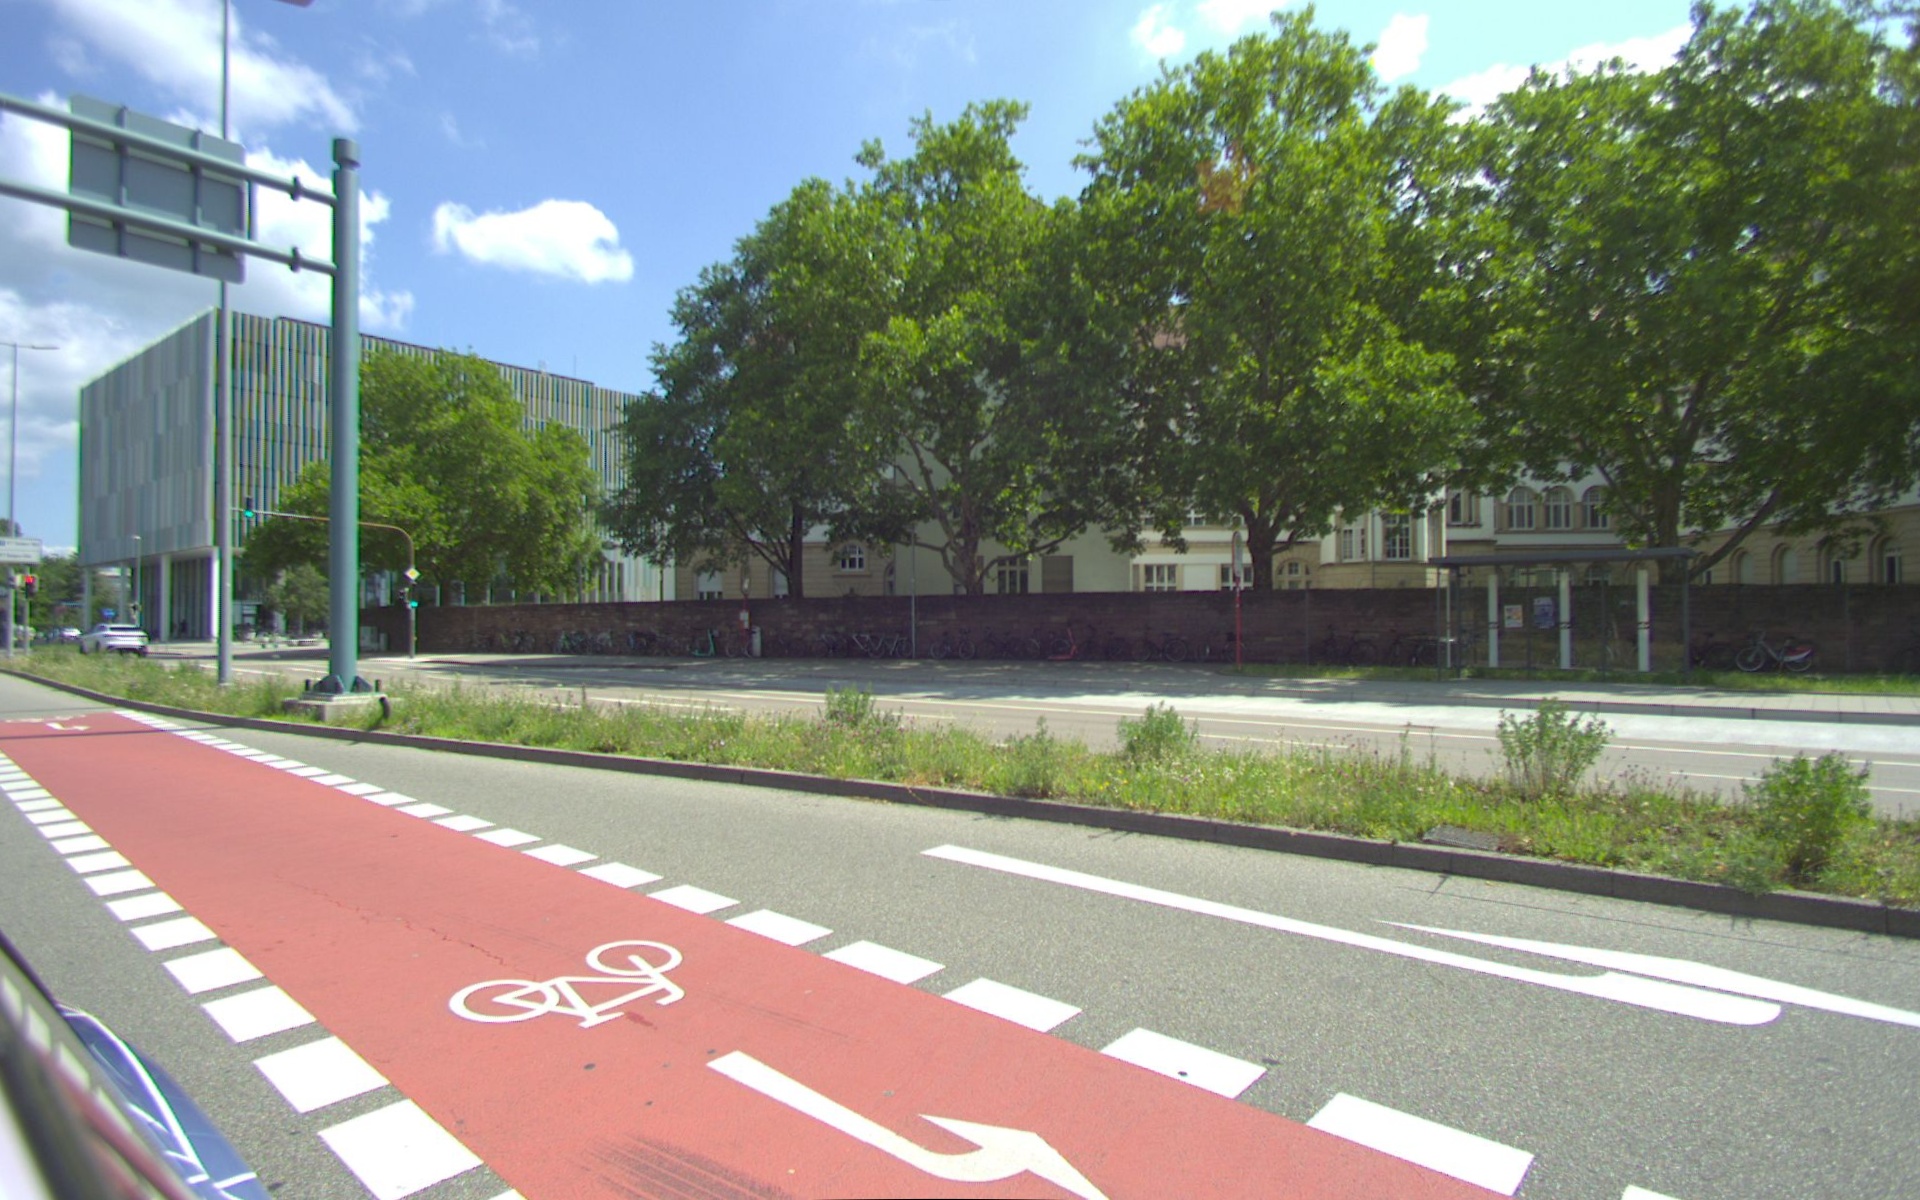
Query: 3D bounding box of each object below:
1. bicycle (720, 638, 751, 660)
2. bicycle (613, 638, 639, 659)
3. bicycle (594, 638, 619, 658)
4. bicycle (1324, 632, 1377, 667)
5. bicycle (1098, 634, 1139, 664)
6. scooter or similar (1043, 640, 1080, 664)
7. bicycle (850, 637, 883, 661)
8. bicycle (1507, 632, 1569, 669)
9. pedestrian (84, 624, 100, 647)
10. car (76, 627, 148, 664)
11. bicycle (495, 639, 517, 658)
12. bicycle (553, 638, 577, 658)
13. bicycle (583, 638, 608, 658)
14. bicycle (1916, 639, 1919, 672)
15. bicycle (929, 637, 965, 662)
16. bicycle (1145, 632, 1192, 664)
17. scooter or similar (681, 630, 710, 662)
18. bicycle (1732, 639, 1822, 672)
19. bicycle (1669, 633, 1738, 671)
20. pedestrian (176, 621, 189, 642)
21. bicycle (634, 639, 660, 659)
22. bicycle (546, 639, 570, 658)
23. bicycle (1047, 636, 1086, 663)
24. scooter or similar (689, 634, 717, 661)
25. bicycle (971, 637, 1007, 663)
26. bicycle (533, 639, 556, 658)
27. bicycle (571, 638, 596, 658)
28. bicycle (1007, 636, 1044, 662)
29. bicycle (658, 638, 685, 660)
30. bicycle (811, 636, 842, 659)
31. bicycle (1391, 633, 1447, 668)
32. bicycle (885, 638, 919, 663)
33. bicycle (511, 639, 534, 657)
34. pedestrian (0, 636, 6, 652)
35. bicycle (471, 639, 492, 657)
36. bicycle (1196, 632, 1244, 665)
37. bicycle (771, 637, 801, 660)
[{"bbox_3d":[-8.644,1.883,38.948,1.226,0.837,0.263,-1,-2,19],"label":"bicycle"},{"bbox_3d":[-13.915,2.023,42.179,1.231,0.837,0.262,-2,-2,30],"label":"bicycle"},{"bbox_3d":[-14.998,2.013,42.888,1.231,0.837,0.262,-2,-2,30],"label":"bicycle"},{"bbox_3d":[11.182,1.424,29.034,1.384,0.972,0.263,-1,-2,18],"label":"bicycle"},{"bbox_3d":[4.943,1.519,31.586,1.230,0.915,0.262,-1,-2,28],"label":"bicycle"},{"bbox_3d":[3.181,1.626,31.808,1.133,0.734,0.264,-1,-2,18],"label":"scooter or similar"},{"bbox_3d":[-3.319,1.750,35.911,1.231,0.837,0.262,-1,-2,30],"label":"bicycle"},{"bbox_3d":[15.634,1.366,27.390,1.384,0.972,0.263,-1,-2,18],"label":"bicycle"},{"bbox_3d":[-74.613,3.057,87.019,0.994,2.029,0.853,-2,-2,39],"label":"pedestrian"},{"bbox_3d":[-42.188,2.227,50.311,4.508,1.724,1.973,-2,-2,40],"label":"car"},{"bbox_3d":[-21.056,2.250,46.954,1.231,0.837,0.262,-2,-2,30],"label":"bicycle"},{"bbox_3d":[-17.404,2.108,44.557,1.230,0.837,0.262,-1,-2,29],"label":"bicycle"},{"bbox_3d":[-15.329,2.001,42.554,1.230,0.837,0.262,-1,-2,29],"label":"bicycle"},{"bbox_3d":[24.445,1.354,24.605,1.734,0.823,0.382,-1,-2,18],"label":"bicycle"},{"bbox_3d":[-0.435,1.669,34.265,1.230,0.837,0.262,-1,-2,28],"label":"bicycle"},{"bbox_3d":[6.403,1.473,31.037,1.385,0.972,0.263,-1,-2,20],"label":"bicycle"},{"bbox_3d":[-10.184,1.757,38.923,1.230,1.199,0.262,-1,-2,29],"label":"scooter or similar"},{"bbox_3d":[20.748,1.402,25.724,1.734,0.823,0.327,-1,-2,18],"label":"bicycle"},{"bbox_3d":[19.236,1.343,26.197,1.384,0.972,0.263,-1,-2,18],"label":"bicycle"},{"bbox_3d":[-78.255,3.158,101.892,0.994,2.029,0.853,-2,-2,40],"label":"pedestrian"},{"bbox_3d":[-12.833,2.004,41.468,1.231,0.837,0.262,-2,-2,30],"label":"bicycle"},{"bbox_3d":[-17.476,2.104,43.969,1.230,0.837,0.262,-1,-2,29],"label":"bicycle"},{"bbox_3d":[3.412,1.591,32.458,1.230,0.837,0.262,-1,-2,28],"label":"bicycle"},{"bbox_3d":[-10.142,1.874,39.917,1.133,1.028,0.264,-1,-2,19],"label":"scooter or similar"},{"bbox_3d":[0.963,1.655,33.718,1.230,0.837,0.262,-1,-2,28],"label":"bicycle"},{"bbox_3d":[-18.593,2.159,45.307,1.230,0.837,0.262,-1,-2,29],"label":"bicycle"},{"bbox_3d":[-16.265,2.079,43.723,1.231,0.837,0.262,-2,-2,30],"label":"bicycle"},{"bbox_3d":[2.135,1.607,33.069,1.230,0.837,0.262,-1,-2,28],"label":"bicycle"},{"bbox_3d":[-11.567,1.964,40.580,1.231,0.837,0.262,-2,-2,30],"label":"bicycle"},{"bbox_3d":[-4.873,1.738,36.881,1.231,0.837,0.262,-1,-2,30],"label":"bicycle"},{"bbox_3d":[12.868,1.414,28.420,1.384,0.972,0.263,-1,-2,18],"label":"bicycle"},{"bbox_3d":[-2.012,1.748,35.116,1.231,0.837,0.262,-1,-2,30],"label":"bicycle"},{"bbox_3d":[-19.970,2.183,46.195,1.230,0.837,0.262,-1,-2,29],"label":"bicycle"},{"bbox_3d":[-101.920,4.641,107.389,0.994,1.669,0.853,-2,-2,39],"label":"pedestrian"},{"bbox_3d":[-22.690,2.267,47.955,1.231,0.837,0.262,-2,-2,30],"label":"bicycle"},{"bbox_3d":[7.810,1.466,30.417,1.389,0.972,0.262,-1,-2,28],"label":"bicycle"},{"bbox_3d":[-6.467,1.807,37.565,1.231,0.837,0.262,-1,-2,30],"label":"bicycle"}]
